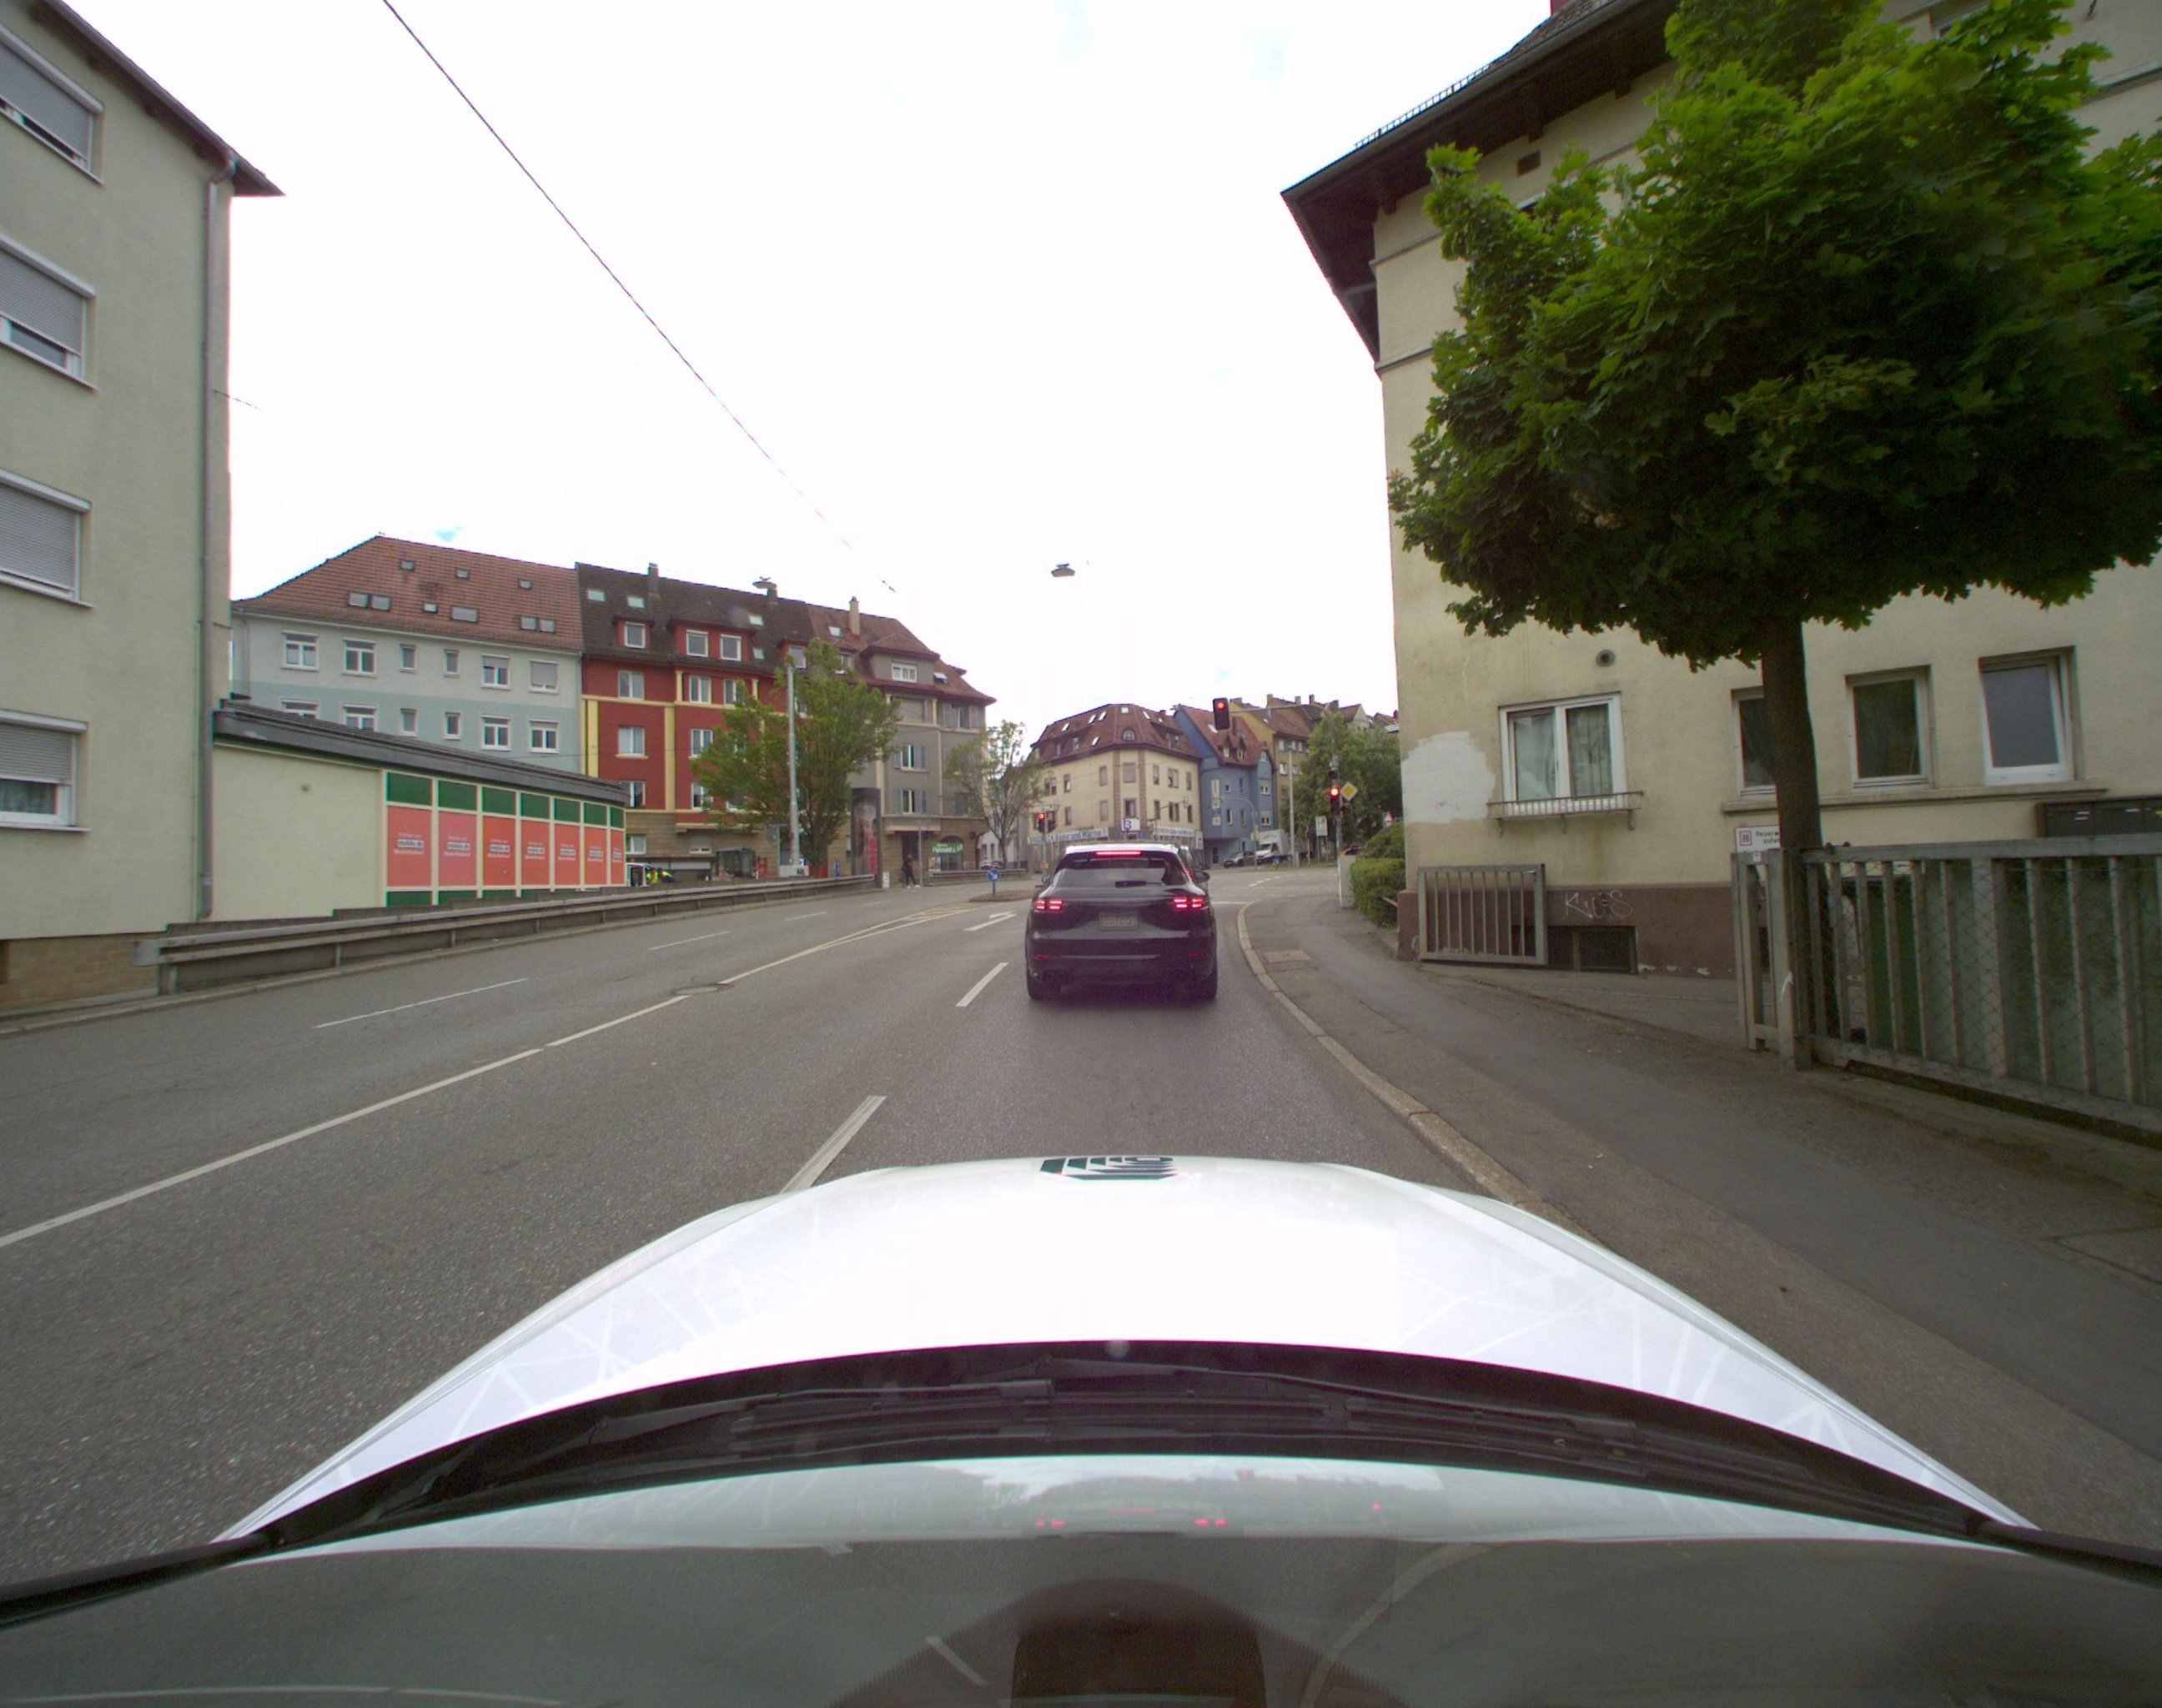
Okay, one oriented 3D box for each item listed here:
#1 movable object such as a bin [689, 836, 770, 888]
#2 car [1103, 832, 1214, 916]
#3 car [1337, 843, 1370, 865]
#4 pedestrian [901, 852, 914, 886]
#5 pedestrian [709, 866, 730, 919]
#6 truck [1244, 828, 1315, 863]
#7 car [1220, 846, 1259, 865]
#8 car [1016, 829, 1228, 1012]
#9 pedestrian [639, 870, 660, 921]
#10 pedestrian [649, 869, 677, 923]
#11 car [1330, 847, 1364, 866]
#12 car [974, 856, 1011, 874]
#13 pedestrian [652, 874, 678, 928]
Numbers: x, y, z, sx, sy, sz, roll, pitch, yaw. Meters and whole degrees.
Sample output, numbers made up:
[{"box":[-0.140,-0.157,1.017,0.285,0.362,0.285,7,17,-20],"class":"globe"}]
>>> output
[{"box":[-12.918,0.280,30.190,1.902,1.771,3.985,1,0,-11],"class":"movable object such as a bin"},{"box":[1.892,0.416,18.623,1.980,1.684,4.014,-1,0,13],"class":"car"},{"box":[21.888,-0.007,65.531,1.980,1.684,4.013,-1,0,12],"class":"car"},{"box":[-8.869,0.766,41.642,0.511,1.730,0.451,1,-1,4],"class":"pedestrian"},{"box":[-12.083,1.265,27.224,0.545,1.730,0.587,1,-1,-32],"class":"pedestrian"},{"box":[20.044,-0.779,81.858,2.847,3.340,8.845,0,0,45],"class":"truck"},{"box":[14.696,0.157,75.216,1.974,1.684,4.026,-2,0,36],"class":"car"},{"box":[0.388,0.605,9.691,1.972,1.684,3.999,-1,1,0],"class":"car"},{"box":[-14.709,1.400,27.767,0.479,1.730,0.537,1,-1,-43],"class":"pedestrian"},{"box":[-13.901,1.394,27.114,0.565,1.761,0.622,0,-1,37],"class":"pedestrian"},{"box":[30.006,0.275,91.729,4.023,2.014,1.975,1,-1,-44],"class":"car"},{"box":[-8.602,1.080,79.305,2.008,1.684,3.958,0,-1,-33],"class":"car"},{"box":[-13.215,1.487,25.877,0.562,1.699,0.542,1,-1,-9],"class":"pedestrian"}]
